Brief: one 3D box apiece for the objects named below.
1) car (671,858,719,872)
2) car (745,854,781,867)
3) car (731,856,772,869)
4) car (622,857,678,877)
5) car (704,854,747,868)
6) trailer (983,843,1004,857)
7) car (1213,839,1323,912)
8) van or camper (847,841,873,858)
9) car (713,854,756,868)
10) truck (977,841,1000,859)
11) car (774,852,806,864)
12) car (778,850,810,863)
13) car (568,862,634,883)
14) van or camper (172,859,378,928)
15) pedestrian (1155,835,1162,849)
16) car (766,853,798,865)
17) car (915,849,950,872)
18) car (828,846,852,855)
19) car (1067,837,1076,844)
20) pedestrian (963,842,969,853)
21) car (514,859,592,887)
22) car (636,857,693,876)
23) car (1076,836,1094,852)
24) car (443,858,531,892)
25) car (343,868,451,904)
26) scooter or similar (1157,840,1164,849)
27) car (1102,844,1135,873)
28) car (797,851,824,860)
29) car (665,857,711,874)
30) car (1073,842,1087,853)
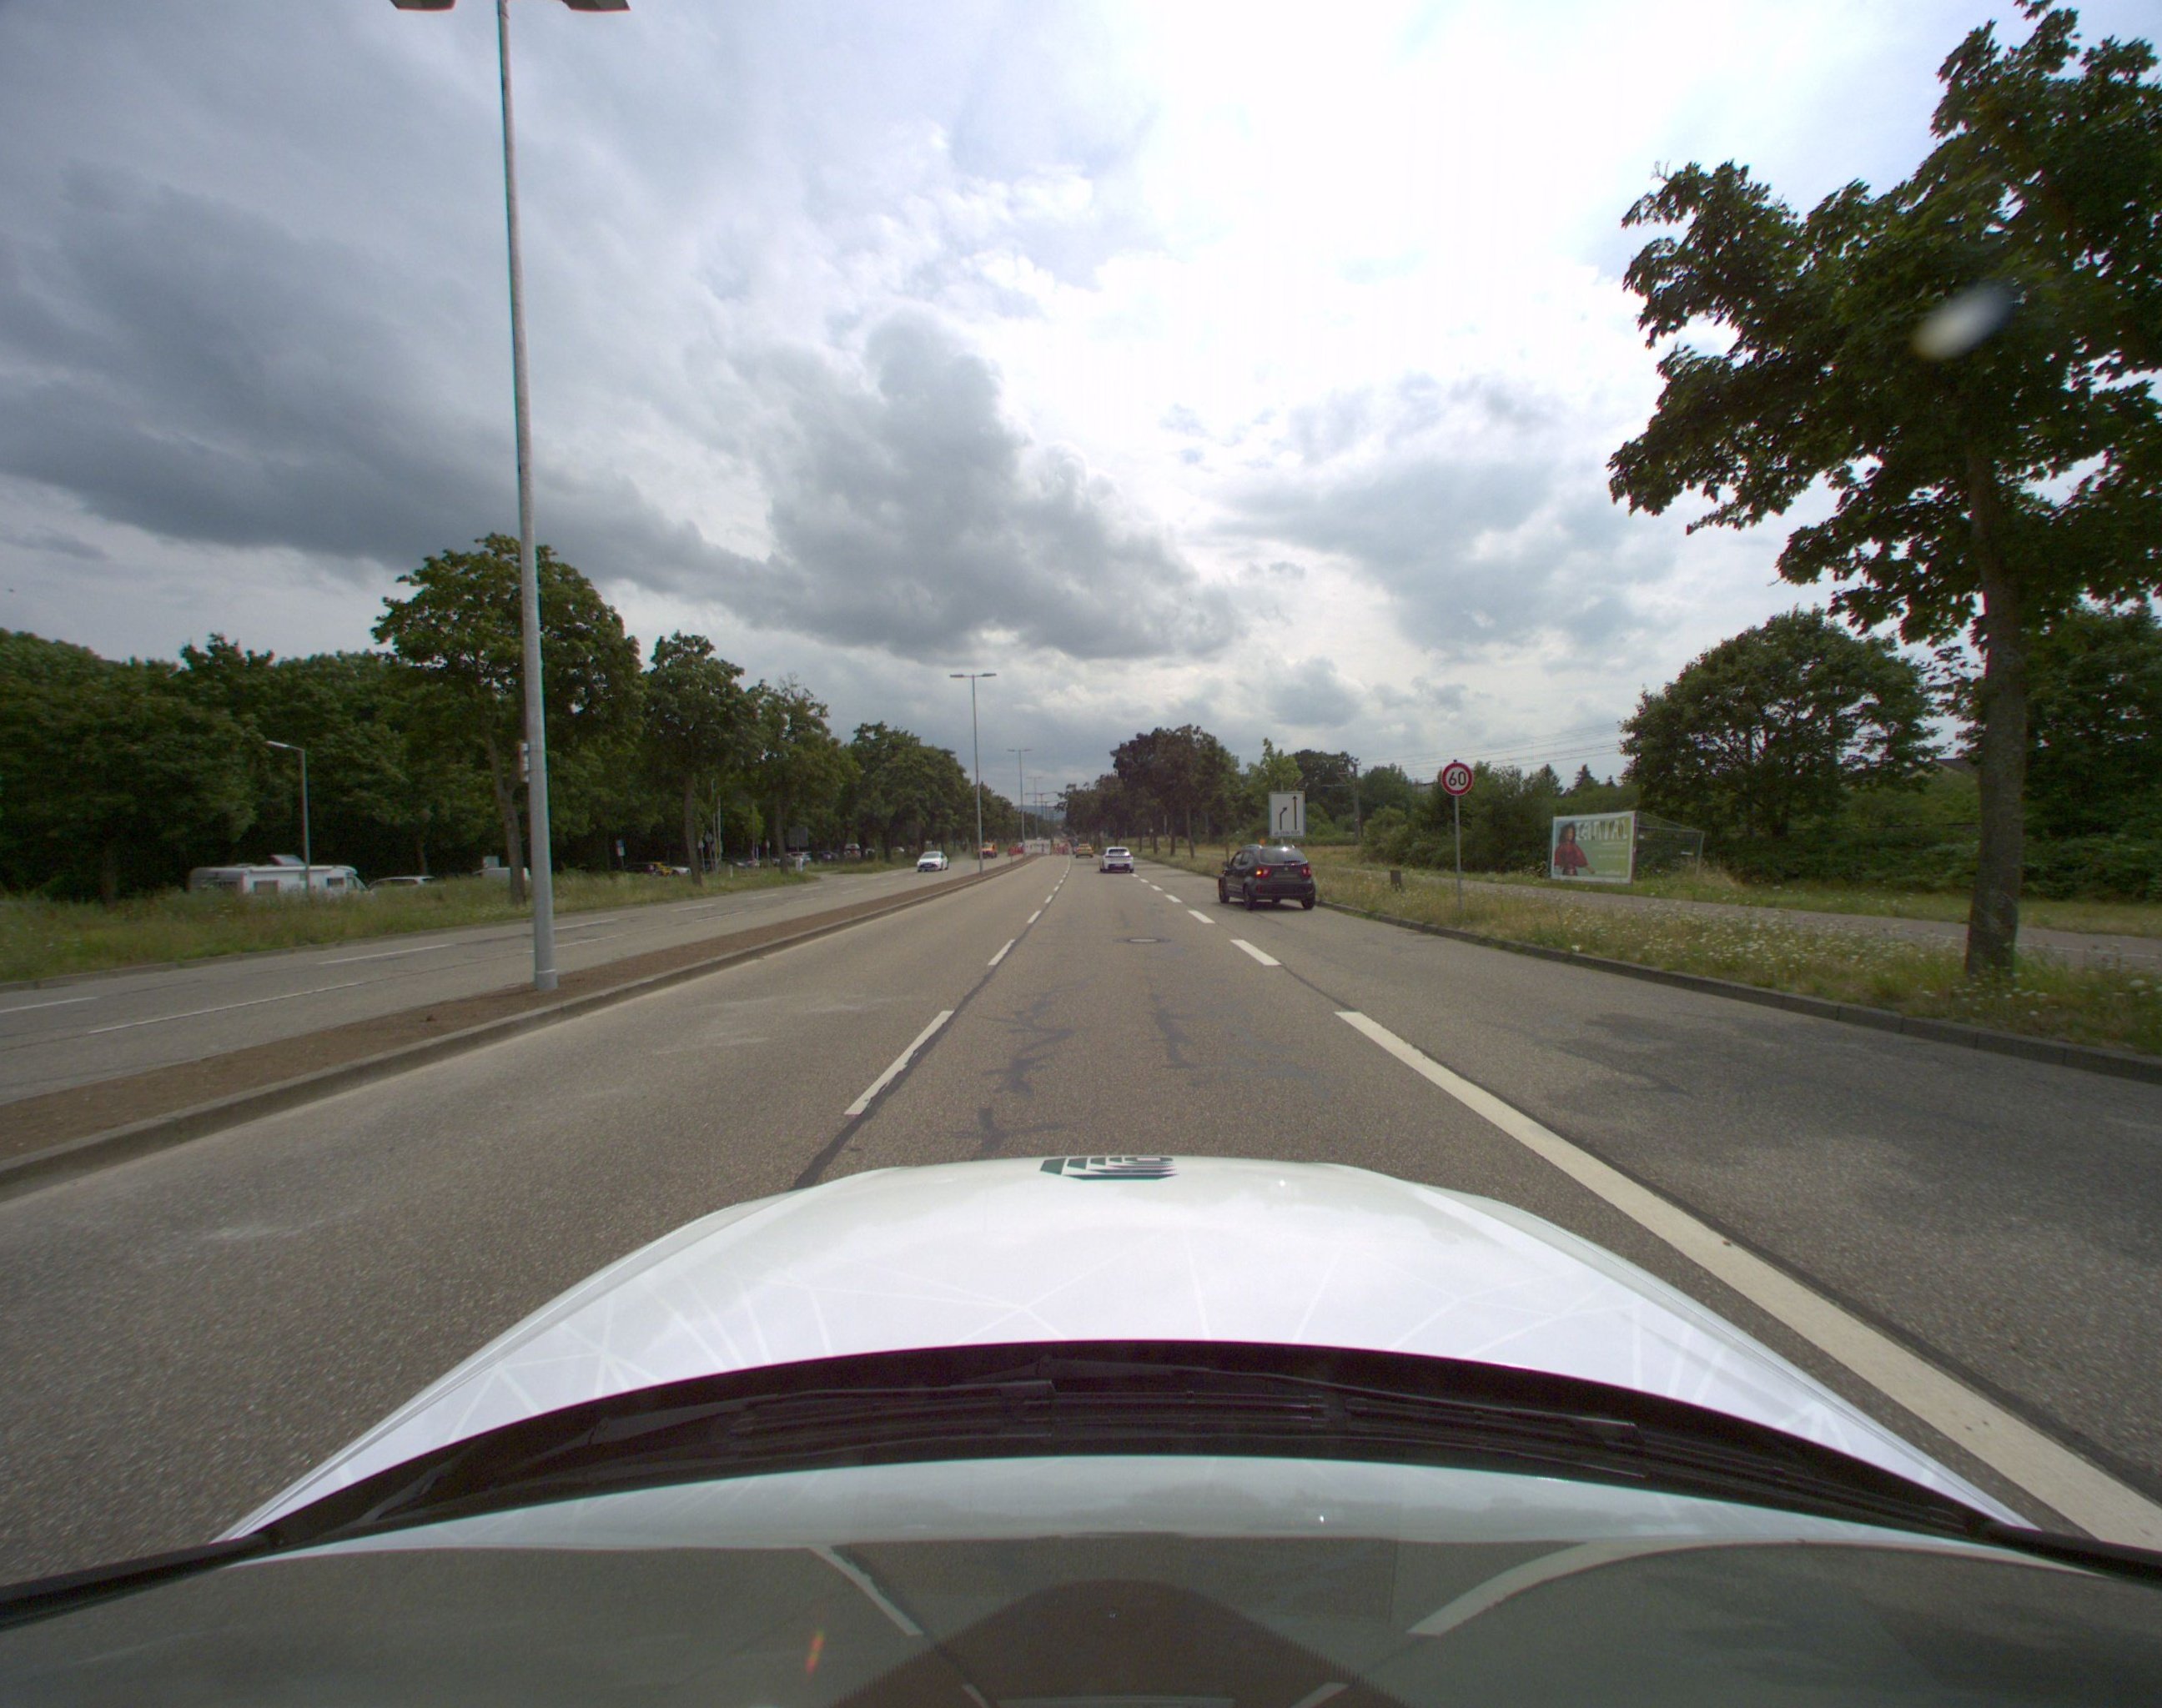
[{"bbox_3d":[-39.141,1.077,82.602,3.974,1.259,1.564,-2,2,0],"label":"car"},{"bbox_3d":[-39.040,0.806,100.106,3.632,1.360,1.709,-1,2,1],"label":"car"},{"bbox_3d":[-38.675,0.998,95.675,3.969,1.410,2.003,-1,2,4],"label":"car"},{"bbox_3d":[-38.012,1.137,71.869,3.973,1.498,1.786,-2,2,1],"label":"car"},{"bbox_3d":[-39.156,0.730,89.835,3.972,1.360,1.668,-2,2,1],"label":"car"},{"bbox_3d":[-11.367,-0.511,105.806,2.055,1.689,3.896,-3,1,1],"label":"trailer"},{"bbox_3d":[4.720,0.474,21.111,1.700,1.668,3.995,-1,1,-4],"label":"car"},{"bbox_3d":[-39.118,-0.828,144.301,3.975,2.756,1.926,-2,2,-1],"label":"van or camper"},{"bbox_3d":[-39.077,0.789,91.832,3.972,1.360,1.823,-2,2,1],"label":"car"},{"bbox_3d":[-11.451,-0.529,101.258,2.082,1.994,6.040,-3,2,0],"label":"truck"},{"bbox_3d":[-38.972,0.518,109.219,3.635,1.411,1.518,-2,2,1],"label":"car"},{"bbox_3d":[-39.449,0.351,111.880,3.635,1.519,1.884,-1,2,1],"label":"car"},{"bbox_3d":[-37.940,1.436,64.482,3.972,1.448,2.001,-1,2,2],"label":"car"},{"bbox_3d":[-36.060,1.652,36.859,2.463,2.540,6.722,-2,2,1],"label":"van or camper"},{"bbox_3d":[9.612,-1.474,100.629,0.689,1.695,0.932,-2,1,-5],"label":"pedestrian"},{"bbox_3d":[-39.161,0.617,106.680,3.635,1.411,1.518,-2,2,1],"label":"car"},{"bbox_3d":[-10.957,0.459,60.349,1.711,1.420,4.161,-3,2,1],"label":"car"},{"bbox_3d":[-38.866,-0.571,131.196,3.355,1.232,1.442,-2,2,0],"label":"car"},{"bbox_3d":[-2.430,-3.661,213.735,2.198,1.683,4.002,-1,2,2],"label":"car"},{"bbox_3d":[-18.508,-1.076,130.986,0.693,1.838,0.646,-2,2,-22],"label":"pedestrian"},{"bbox_3d":[-36.477,1.279,56.380,3.974,1.713,2.046,-2,2,-1],"label":"car"},{"bbox_3d":[-37.883,1.132,74.142,4.165,1.498,1.886,-2,2,1],"label":"car"},{"bbox_3d":[0.436,-1.065,86.787,1.787,1.561,4.001,-2,2,1],"label":"car"},{"bbox_3d":[-36.960,1.310,50.753,3.974,1.887,1.939,-2,2,-1],"label":"car"},{"bbox_3d":[-36.320,1.681,43.324,3.975,1.716,1.886,-2,2,-1],"label":"car"},{"bbox_3d":[9.693,-1.177,99.707,0.681,1.129,0.932,-2,2,-5],"label":"scooter or similar"},{"bbox_3d":[2.093,0.221,46.550,1.760,1.464,4.001,-2,2,1],"label":"car"},{"bbox_3d":[-39.196,0.243,118.024,3.355,1.093,1.442,-2,2,0],"label":"car"},{"bbox_3d":[-37.859,1.107,78.474,3.635,1.411,1.518,-2,2,1],"label":"car"},{"bbox_3d":[-0.104,-0.819,105.442,1.661,1.269,4.001,-2,2,1],"label":"car"}]
